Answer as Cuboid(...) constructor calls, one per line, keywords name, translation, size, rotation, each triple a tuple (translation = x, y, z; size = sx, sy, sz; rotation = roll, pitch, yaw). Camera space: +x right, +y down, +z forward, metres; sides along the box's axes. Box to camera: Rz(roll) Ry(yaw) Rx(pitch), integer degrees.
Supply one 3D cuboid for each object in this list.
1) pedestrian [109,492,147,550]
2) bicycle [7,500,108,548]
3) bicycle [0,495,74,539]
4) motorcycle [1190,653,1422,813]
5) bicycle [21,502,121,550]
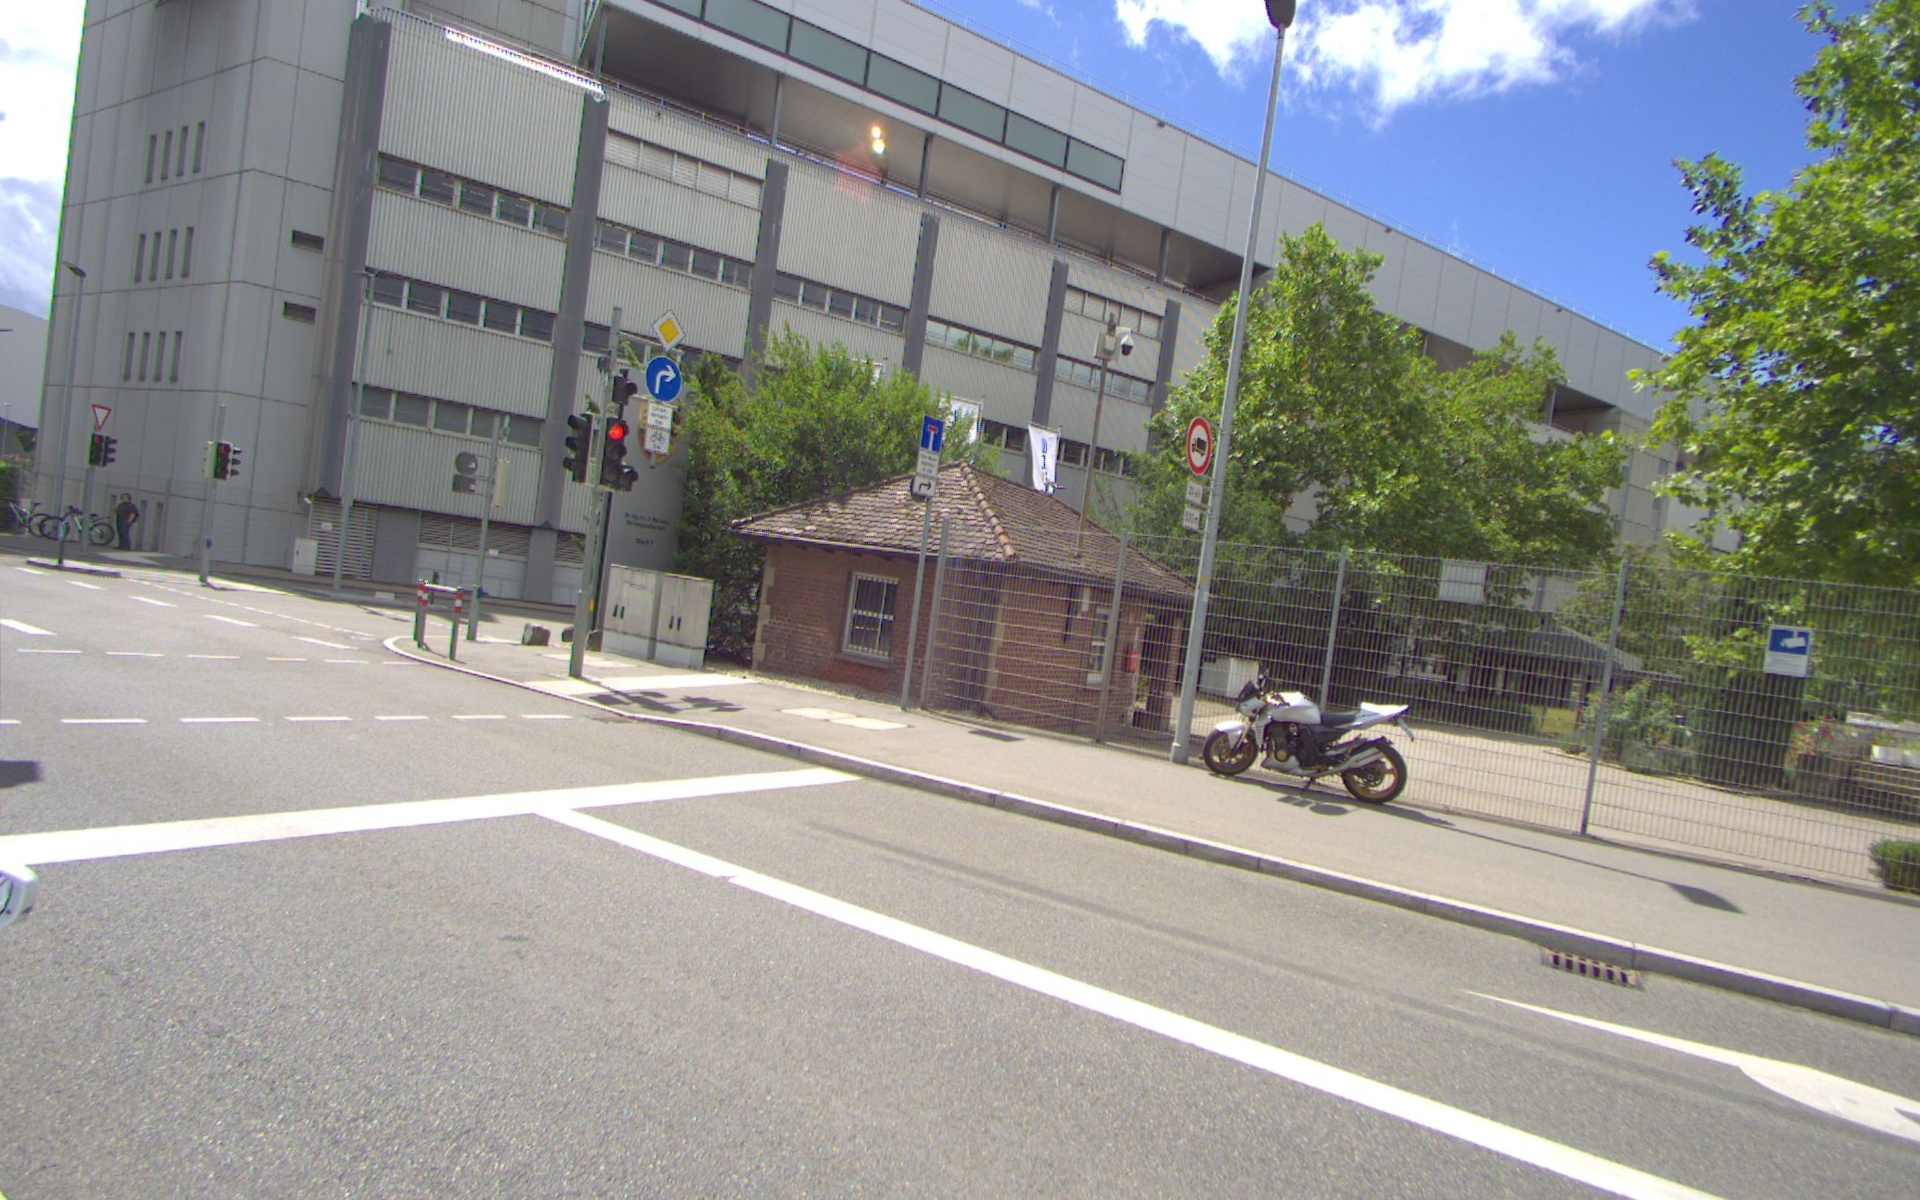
Cuboid(name="pedestrian", translation=(-25.441, -2.393, 30.769), size=(0.651, 1.659, 0.531), rotation=(8, -1, -30))
Cuboid(name="bicycle", translation=(-27.957, -2.331, 31.203), size=(2.197, 1.099, 0.474), rotation=(8, -1, -23))
Cuboid(name="bicycle", translation=(-29.293, -2.637, 31.488), size=(2.197, 1.099, 0.474), rotation=(8, -1, -23))
Cuboid(name="motorcycle", translation=(3.419, 1.264, 10.021), size=(1.980, 1.239, 0.687), rotation=(6, 2, 32))
Cuboid(name="bicycle", translation=(-27.294, -2.255, 30.912), size=(2.166, 1.099, 0.474), rotation=(8, -1, -23))
